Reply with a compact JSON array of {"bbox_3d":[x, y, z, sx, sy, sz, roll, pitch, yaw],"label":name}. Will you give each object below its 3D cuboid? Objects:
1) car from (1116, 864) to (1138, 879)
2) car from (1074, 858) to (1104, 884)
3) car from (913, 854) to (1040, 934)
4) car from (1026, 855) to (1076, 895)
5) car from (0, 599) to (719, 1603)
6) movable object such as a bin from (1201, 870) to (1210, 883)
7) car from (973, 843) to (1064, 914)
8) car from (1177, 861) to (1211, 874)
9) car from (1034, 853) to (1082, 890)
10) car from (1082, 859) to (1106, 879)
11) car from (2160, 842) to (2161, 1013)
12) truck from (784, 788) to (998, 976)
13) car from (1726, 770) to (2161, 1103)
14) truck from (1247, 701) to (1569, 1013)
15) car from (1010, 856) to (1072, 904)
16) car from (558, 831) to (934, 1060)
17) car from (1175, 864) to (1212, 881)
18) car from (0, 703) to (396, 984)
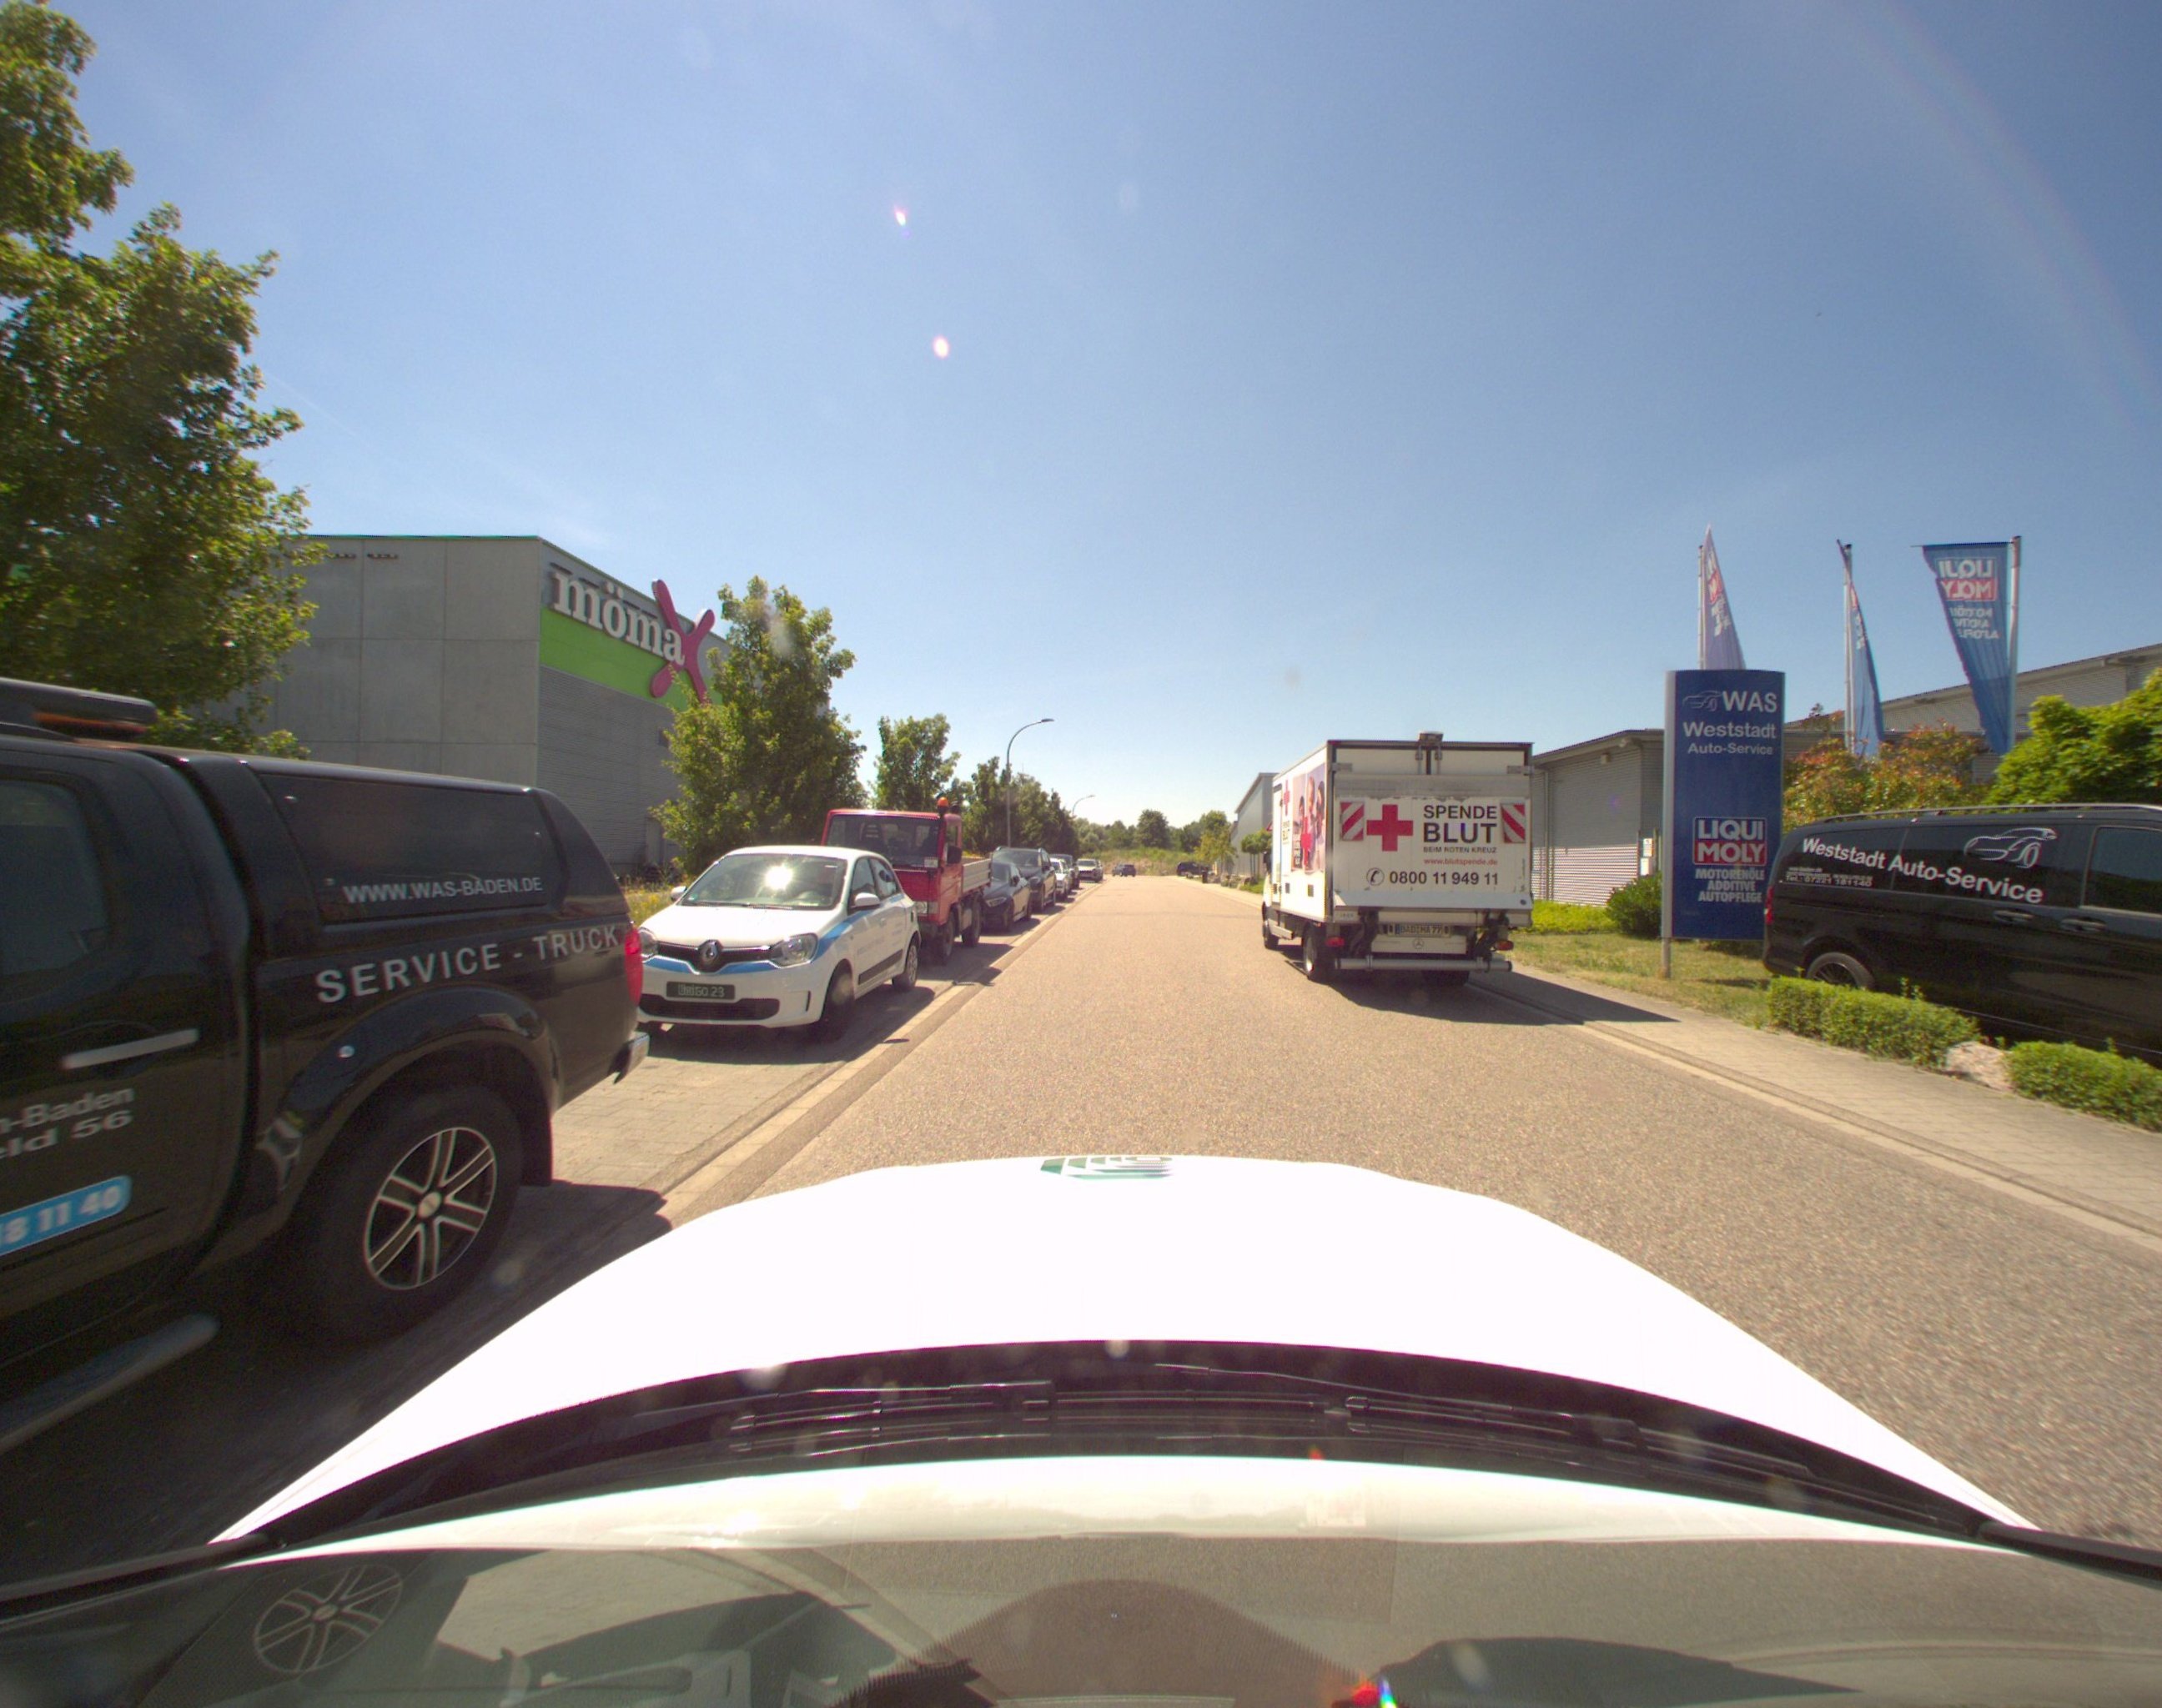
[{"bbox_3d":[5.413,2.028,96.728,1.911,1.713,4.020,1,0,-8],"label":"car"},{"bbox_3d":[0.590,1.154,58.025,1.904,1.713,4.416,2,0,3],"label":"car"},{"bbox_3d":[-2.094,0.773,17.799,1.843,1.443,4.757,2,0,3],"label":"car"},{"bbox_3d":[-1.219,0.856,35.393,1.845,1.519,5.167,2,0,1],"label":"car"},{"bbox_3d":[-3.017,0.442,1.475,1.965,1.901,5.407,2,0,3],"label":"car"},{"bbox_3d":[9.197,1.630,60.055,0.556,0.946,0.539,0,-1,1],"label":"movable object such as a bin"},{"bbox_3d":[-1.687,0.652,23.666,1.843,1.758,4.992,2,0,4],"label":"car"},{"bbox_3d":[14.101,1.649,101.458,3.994,1.462,1.893,-2,-1,2],"label":"car"},{"bbox_3d":[-1.100,0.846,41.825,1.983,1.713,5.011,2,0,3],"label":"car"},{"bbox_3d":[1.145,1.242,69.840,1.904,1.655,4.758,1,0,3],"label":"car"},{"bbox_3d":[10.087,0.634,4.637,1.985,1.536,4.596,0,1,4],"label":"car"},{"bbox_3d":[-2.563,0.349,12.256,1.844,2.222,4.649,2,0,3],"label":"truck"},{"bbox_3d":[7.595,0.512,5.847,1.985,2.014,5.342,0,0,4],"label":"car"},{"bbox_3d":[4.076,0.033,11.884,2.446,3.205,6.891,1,0,5],"label":"truck"},{"bbox_3d":[-1.335,0.869,29.218,1.845,1.519,4.905,2,0,1],"label":"car"},{"bbox_3d":[-2.719,0.658,7.668,1.845,1.551,3.768,2,0,1],"label":"car"},{"bbox_3d":[13.081,2.177,94.938,3.994,1.655,1.859,-4,-1,2],"label":"car"},{"bbox_3d":[-12.410,-0.157,9.924,5.950,2.926,2.522,1,-1,2],"label":"car"}]
